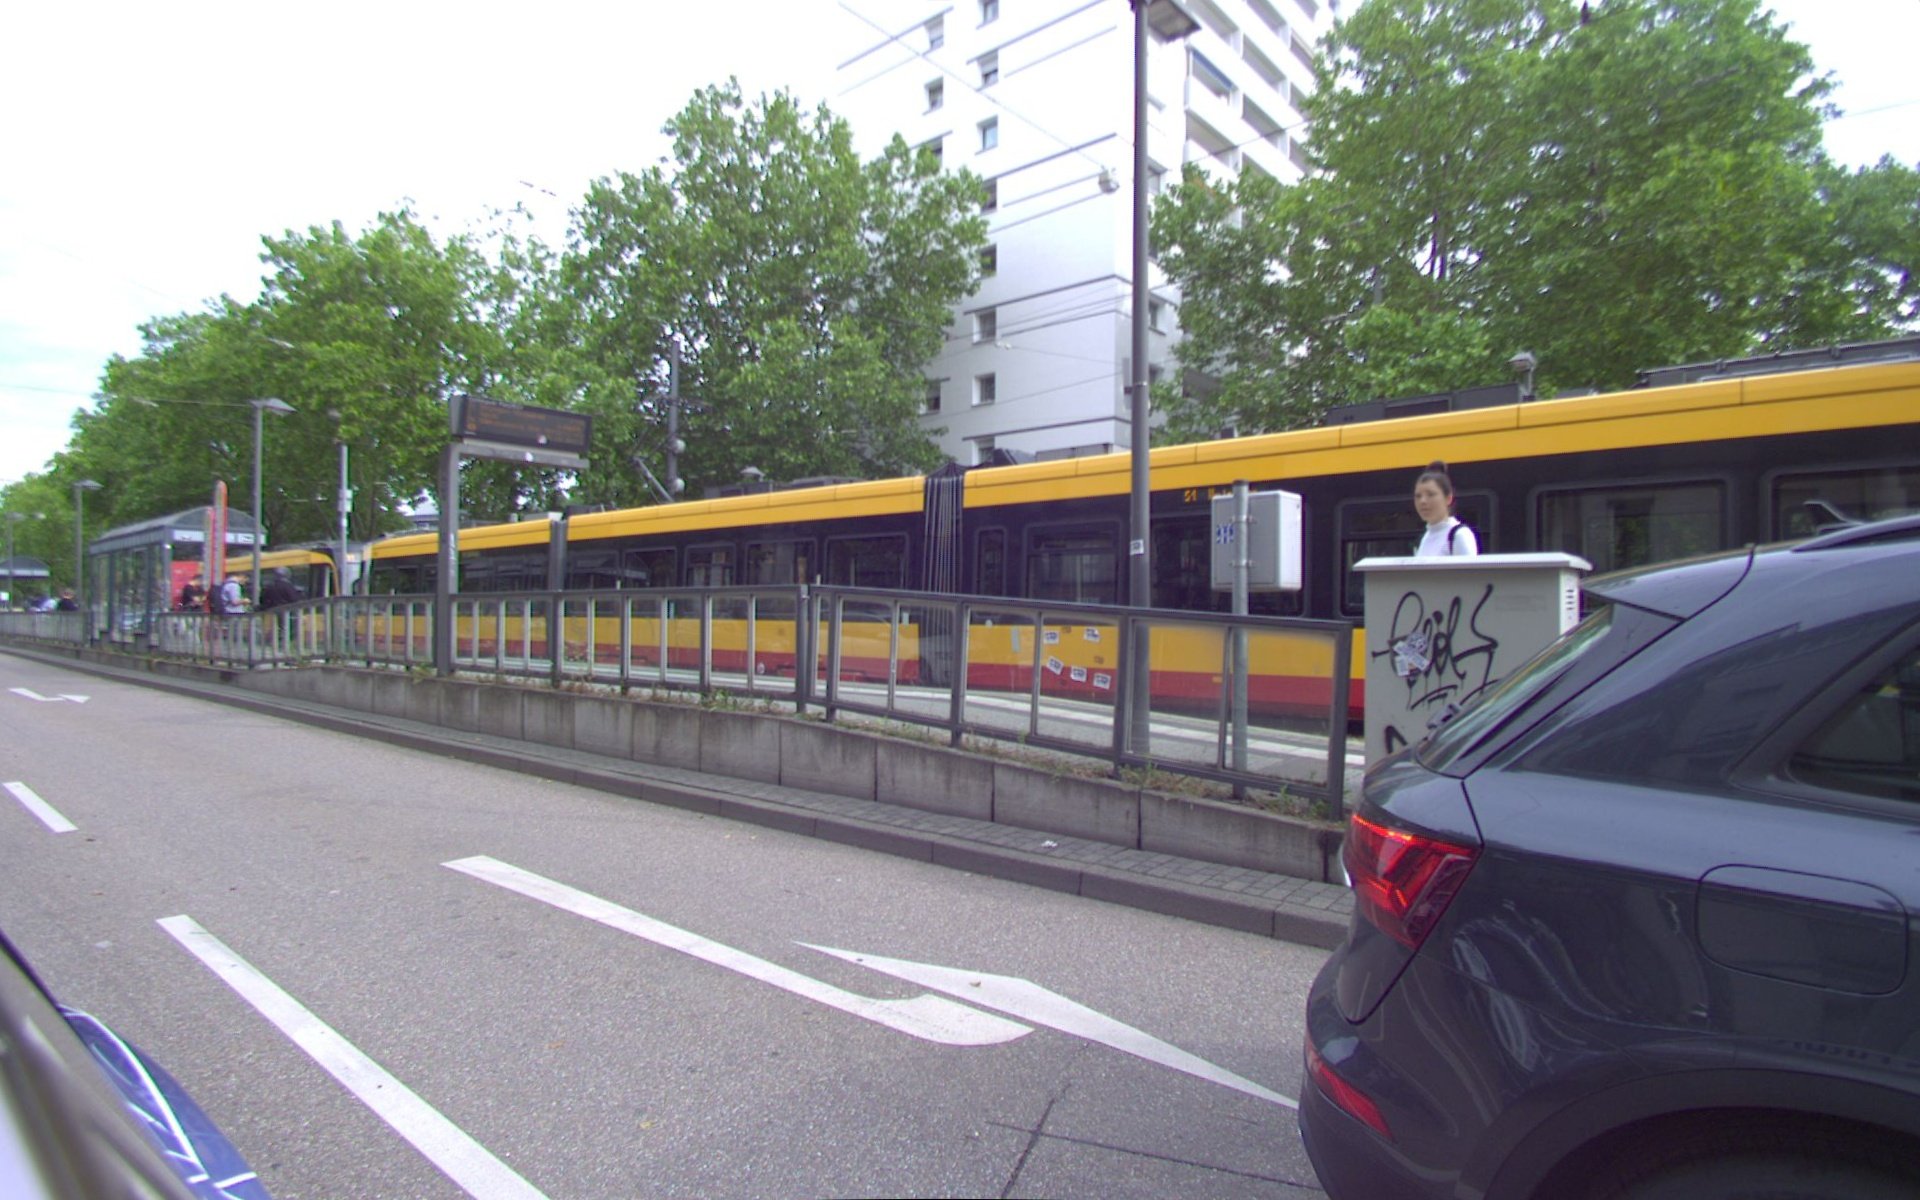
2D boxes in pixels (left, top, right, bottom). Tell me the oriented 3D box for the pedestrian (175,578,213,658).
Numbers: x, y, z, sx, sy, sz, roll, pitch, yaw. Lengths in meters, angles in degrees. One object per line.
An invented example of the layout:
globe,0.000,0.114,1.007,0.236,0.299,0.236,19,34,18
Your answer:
pedestrian,-15.988,0.376,21.121,0.471,1.645,0.526,-1,0,39

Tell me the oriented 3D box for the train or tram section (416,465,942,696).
train or tram section,-7.064,-0.276,21.817,15.287,3.558,3.028,0,0,41

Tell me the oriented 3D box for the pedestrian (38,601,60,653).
pedestrian,-29.040,0.844,32.248,0.392,1.645,0.474,-1,0,42

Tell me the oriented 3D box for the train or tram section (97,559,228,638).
train or tram section,-40.823,-0.050,51.539,12.534,3.588,3.060,0,0,41

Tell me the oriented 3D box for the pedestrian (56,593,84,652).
pedestrian,-25.398,0.639,28.882,0.730,1.645,0.506,-1,0,42

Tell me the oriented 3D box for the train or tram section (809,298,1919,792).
train or tram section,4.615,-0.391,11.558,15.841,3.615,3.028,0,0,41

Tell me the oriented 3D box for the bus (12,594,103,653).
bus,-32.791,0.818,36.754,3.998,2.029,1.973,0,0,41

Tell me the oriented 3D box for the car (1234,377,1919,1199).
car,2.725,0.537,1.045,4.354,1.613,1.861,-1,0,40

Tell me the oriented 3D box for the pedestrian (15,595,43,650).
pedestrian,-34.278,0.819,37.273,0.587,2.029,0.668,-1,0,38

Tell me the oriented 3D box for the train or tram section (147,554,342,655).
train or tram section,-30.214,0.192,42.164,15.764,3.558,3.028,0,0,41

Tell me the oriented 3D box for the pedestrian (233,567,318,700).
pedestrian,-10.757,0.513,15.925,0.808,2.029,0.754,-1,0,4

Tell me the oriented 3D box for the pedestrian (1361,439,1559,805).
pedestrian,2.548,0.099,5.149,0.730,1.674,0.746,-1,0,41

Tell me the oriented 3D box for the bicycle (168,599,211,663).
bicycle,-15.296,0.600,20.082,1.289,1.231,0.414,-1,0,41

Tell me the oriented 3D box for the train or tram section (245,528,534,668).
train or tram section,-18.553,-0.027,31.928,15.287,3.558,3.028,0,0,41

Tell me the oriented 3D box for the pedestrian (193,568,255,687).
pedestrian,-12.925,0.458,17.794,0.742,2.029,0.821,-1,0,-26
